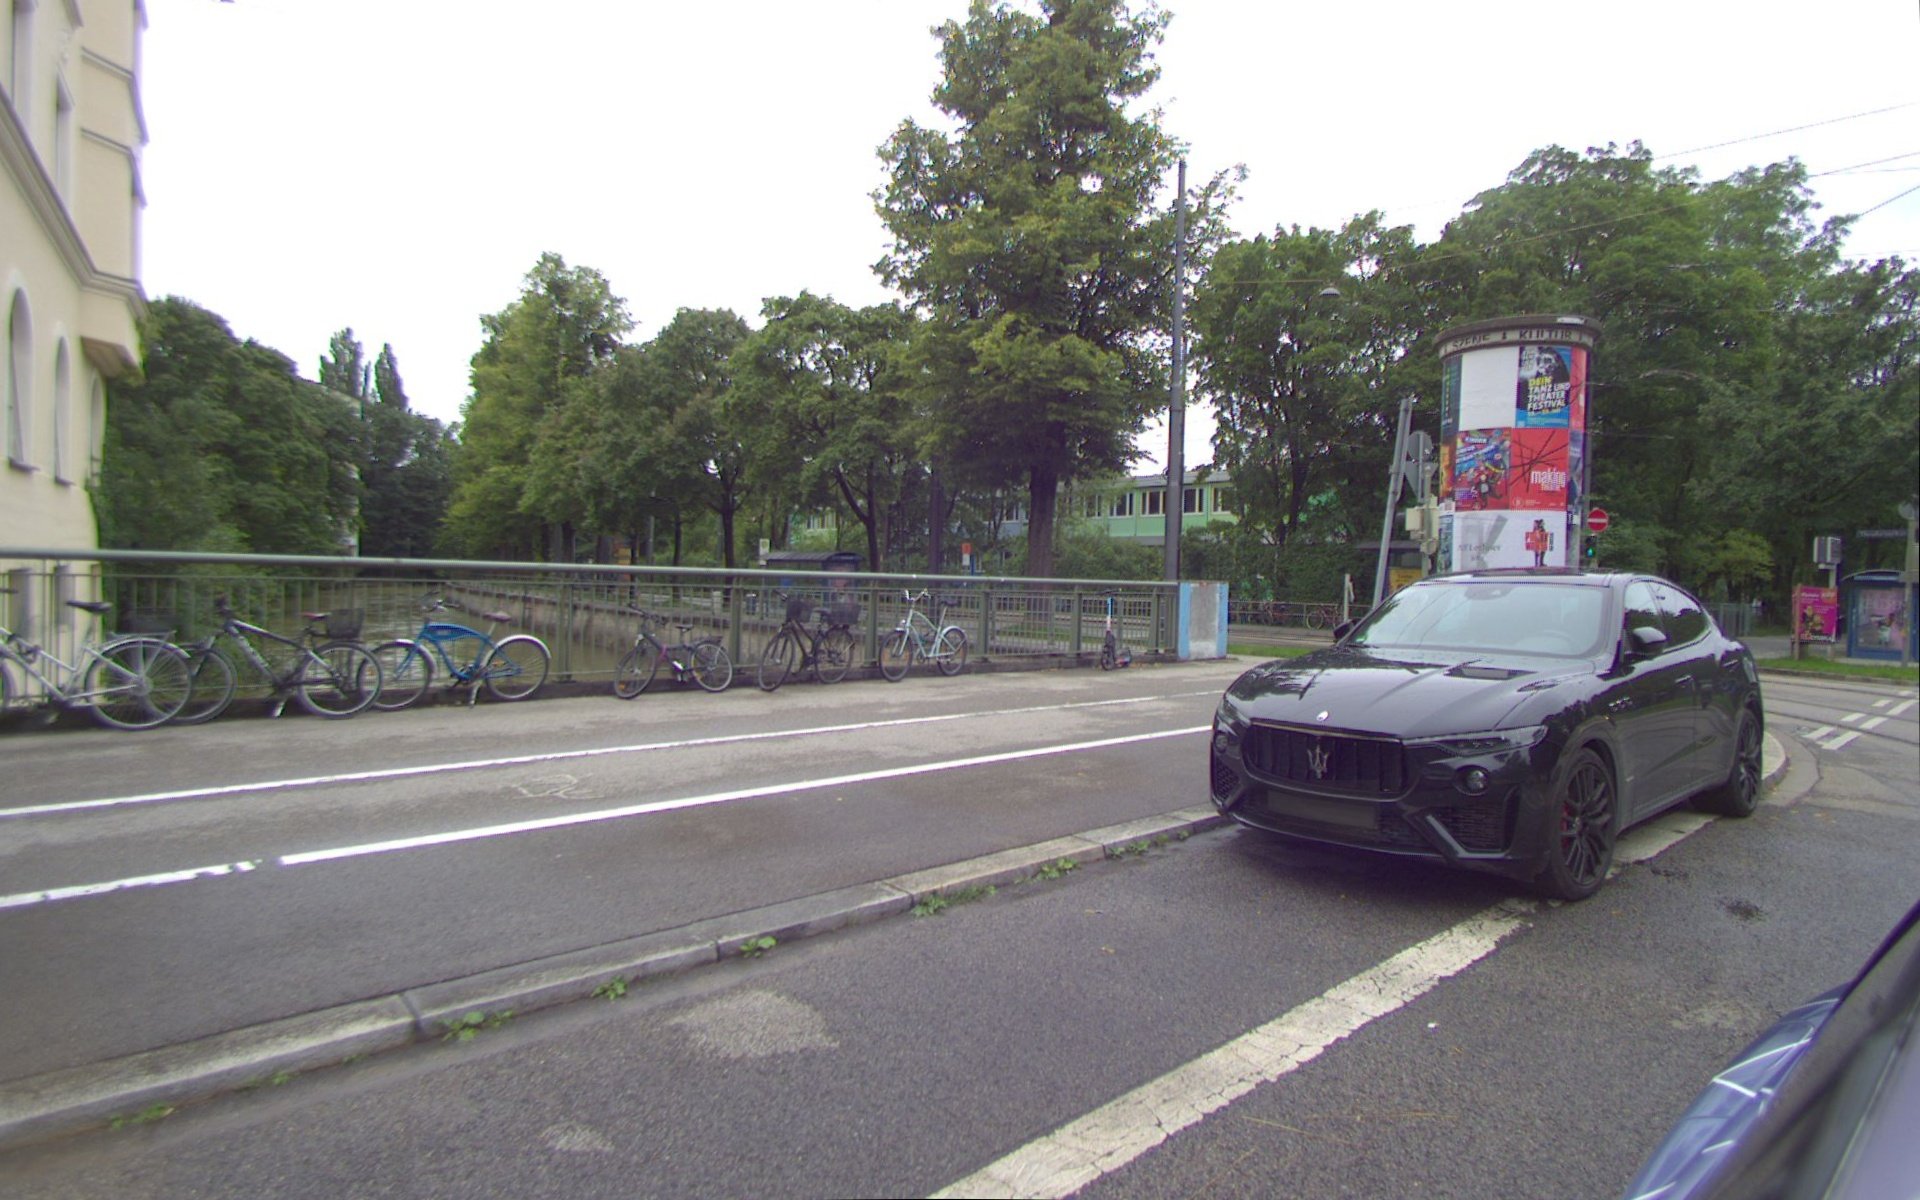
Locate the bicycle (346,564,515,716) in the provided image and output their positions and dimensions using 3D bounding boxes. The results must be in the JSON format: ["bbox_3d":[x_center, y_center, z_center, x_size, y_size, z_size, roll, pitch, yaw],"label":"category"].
[{"bbox_3d":[-4.822,0.339,9.287,0.281,1.298,1.391,0,0,38],"label":"bicycle"}]

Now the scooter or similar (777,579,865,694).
[{"bbox_3d":[-1.624,0.404,11.979,0.242,1.279,1.482,0,0,26],"label":"scooter or similar"}]

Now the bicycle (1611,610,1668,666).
[{"bbox_3d":[14.317,0.774,21.304,1.880,1.092,0.579,0,0,-43],"label":"bicycle"}]

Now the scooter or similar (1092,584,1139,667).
[{"bbox_3d":[2.389,0.375,15.544,0.224,1.227,1.006,0,0,40],"label":"scooter or similar"}]

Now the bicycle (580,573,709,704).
[{"bbox_3d":[-3.272,0.374,10.597,0.281,1.298,1.391,0,0,38],"label":"bicycle"}]

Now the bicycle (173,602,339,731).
[{"bbox_3d":[-5.790,0.516,8.373,0.247,0.946,1.133,5,4,27],"label":"bicycle"}]

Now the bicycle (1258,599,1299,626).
[{"bbox_3d":[11.834,0.446,37.651,0.366,0.964,1.483,0,1,-38],"label":"bicycle"}]

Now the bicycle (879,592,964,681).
[{"bbox_3d":[-0.481,0.449,13.214,0.263,1.096,1.524,0,0,34],"label":"bicycle"}]

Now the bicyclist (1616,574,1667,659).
[{"bbox_3d":[14.427,0.337,21.428,0.714,1.751,0.725,0,0,-41],"label":"bicyclist"}]

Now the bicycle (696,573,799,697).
[{"bbox_3d":[-2.352,0.365,11.331,0.280,1.298,1.395,0,0,29],"label":"bicycle"}]

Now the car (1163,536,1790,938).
[{"bbox_3d":[3.473,0.571,6.340,4.582,1.630,1.904,1,0,-40],"label":"car"}]

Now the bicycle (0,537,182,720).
[{"bbox_3d":[-6.858,0.205,7.660,1.511,1.329,0.332,0,0,-42],"label":"bicycle"}]

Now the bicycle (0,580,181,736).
[{"bbox_3d":[-6.782,0.413,7.627,0.286,1.120,1.421,1,1,42],"label":"bicycle"}]

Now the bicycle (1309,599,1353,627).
[{"bbox_3d":[13.171,0.450,35.968,0.366,0.964,1.483,0,1,-38],"label":"bicycle"}]
